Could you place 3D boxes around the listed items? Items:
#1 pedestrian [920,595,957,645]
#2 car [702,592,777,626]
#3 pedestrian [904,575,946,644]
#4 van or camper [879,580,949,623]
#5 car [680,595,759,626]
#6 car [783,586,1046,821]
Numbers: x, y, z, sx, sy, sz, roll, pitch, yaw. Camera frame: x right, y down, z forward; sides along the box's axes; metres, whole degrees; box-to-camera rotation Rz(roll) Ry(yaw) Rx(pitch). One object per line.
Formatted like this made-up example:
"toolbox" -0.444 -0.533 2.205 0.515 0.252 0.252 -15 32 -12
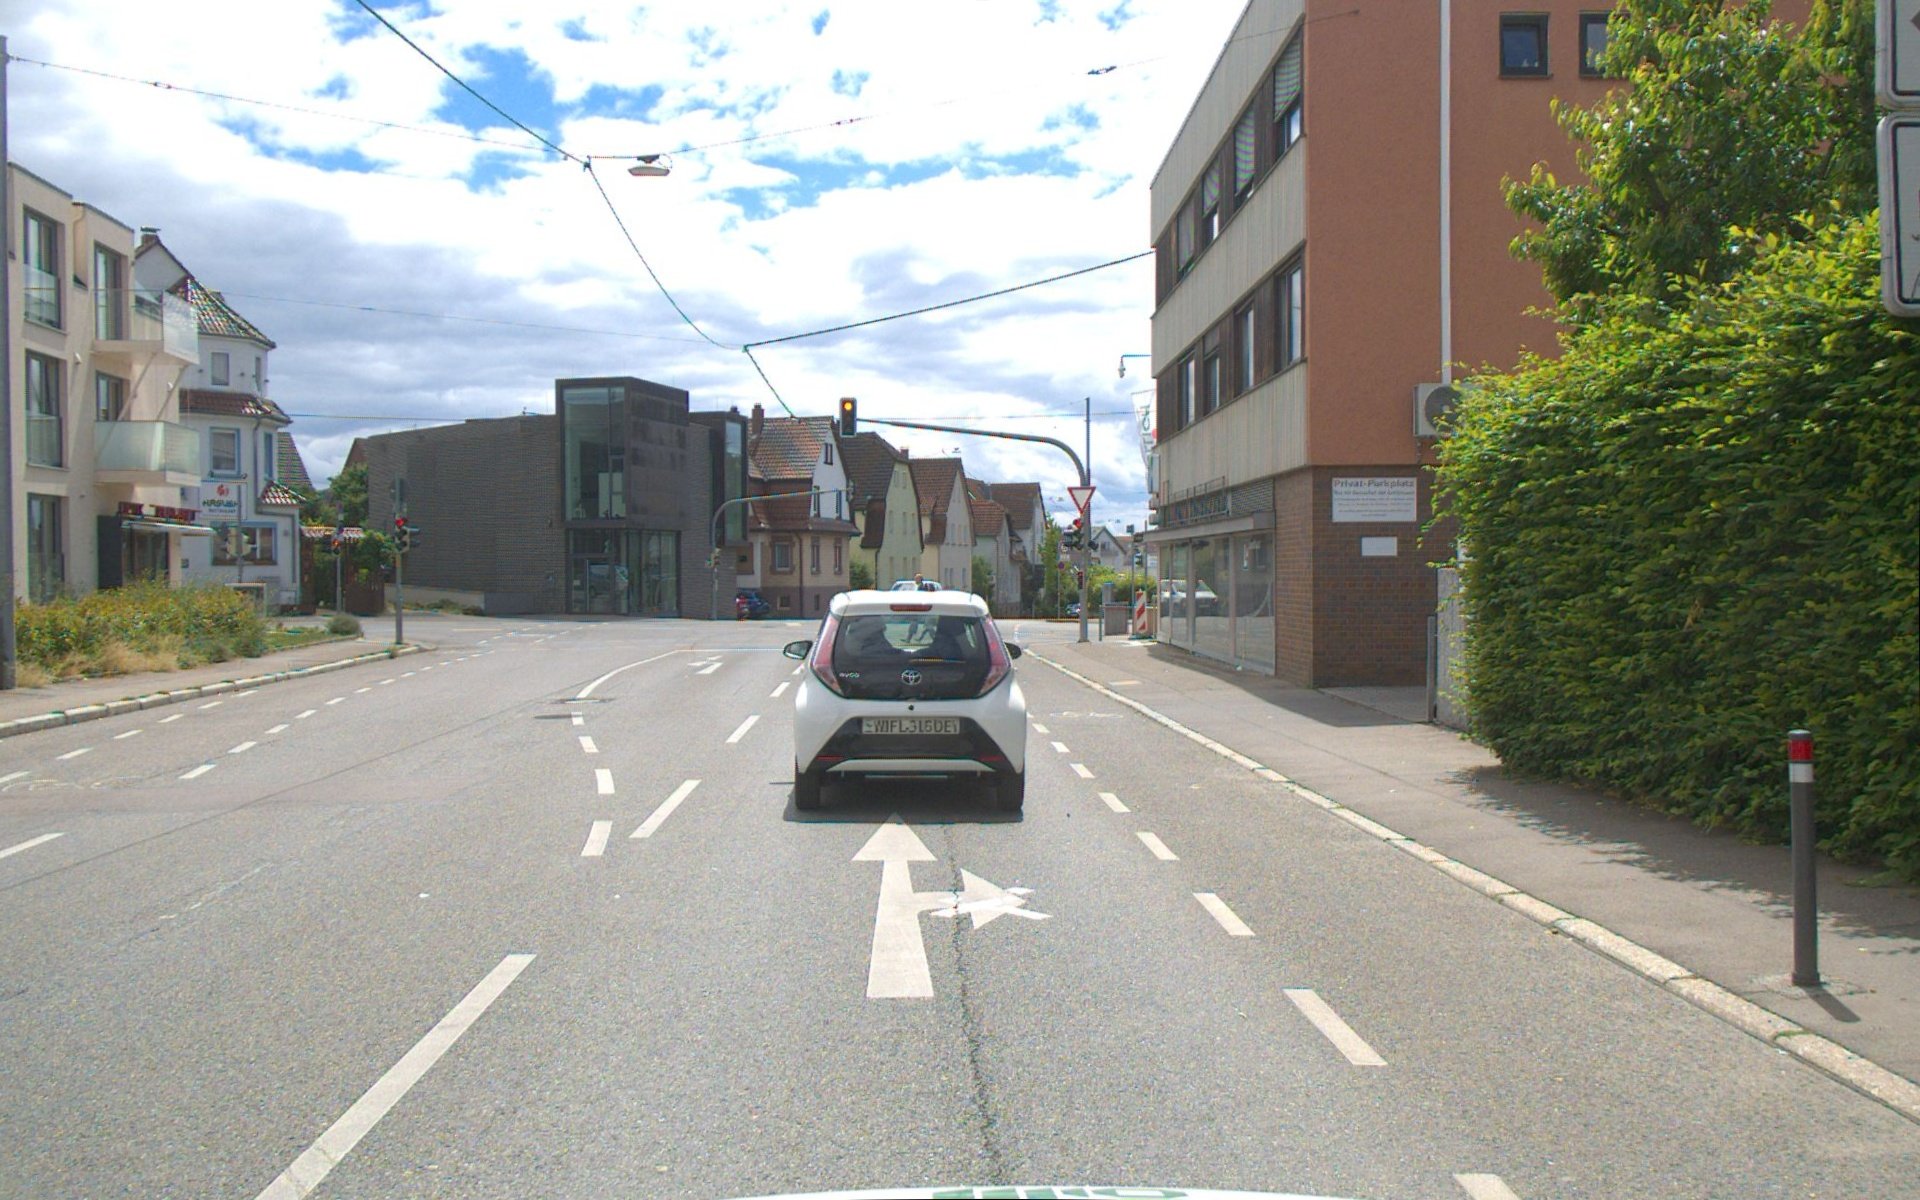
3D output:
"pedestrian" -0.542 0.504 41.916 0.724 1.243 0.640 0 0 -26
"car" -11.525 0.457 86.574 3.537 1.633 1.693 2 0 10
"pedestrian" -0.897 0.248 42.563 0.812 1.751 0.811 0 0 -25
"van or camper" -2.203 0.097 80.908 2.070 1.959 5.289 2 0 13
"car" -12.181 0.533 83.845 3.537 1.444 1.693 2 0 10
"car" -0.387 0.671 12.369 1.663 1.482 3.296 2 0 -3
